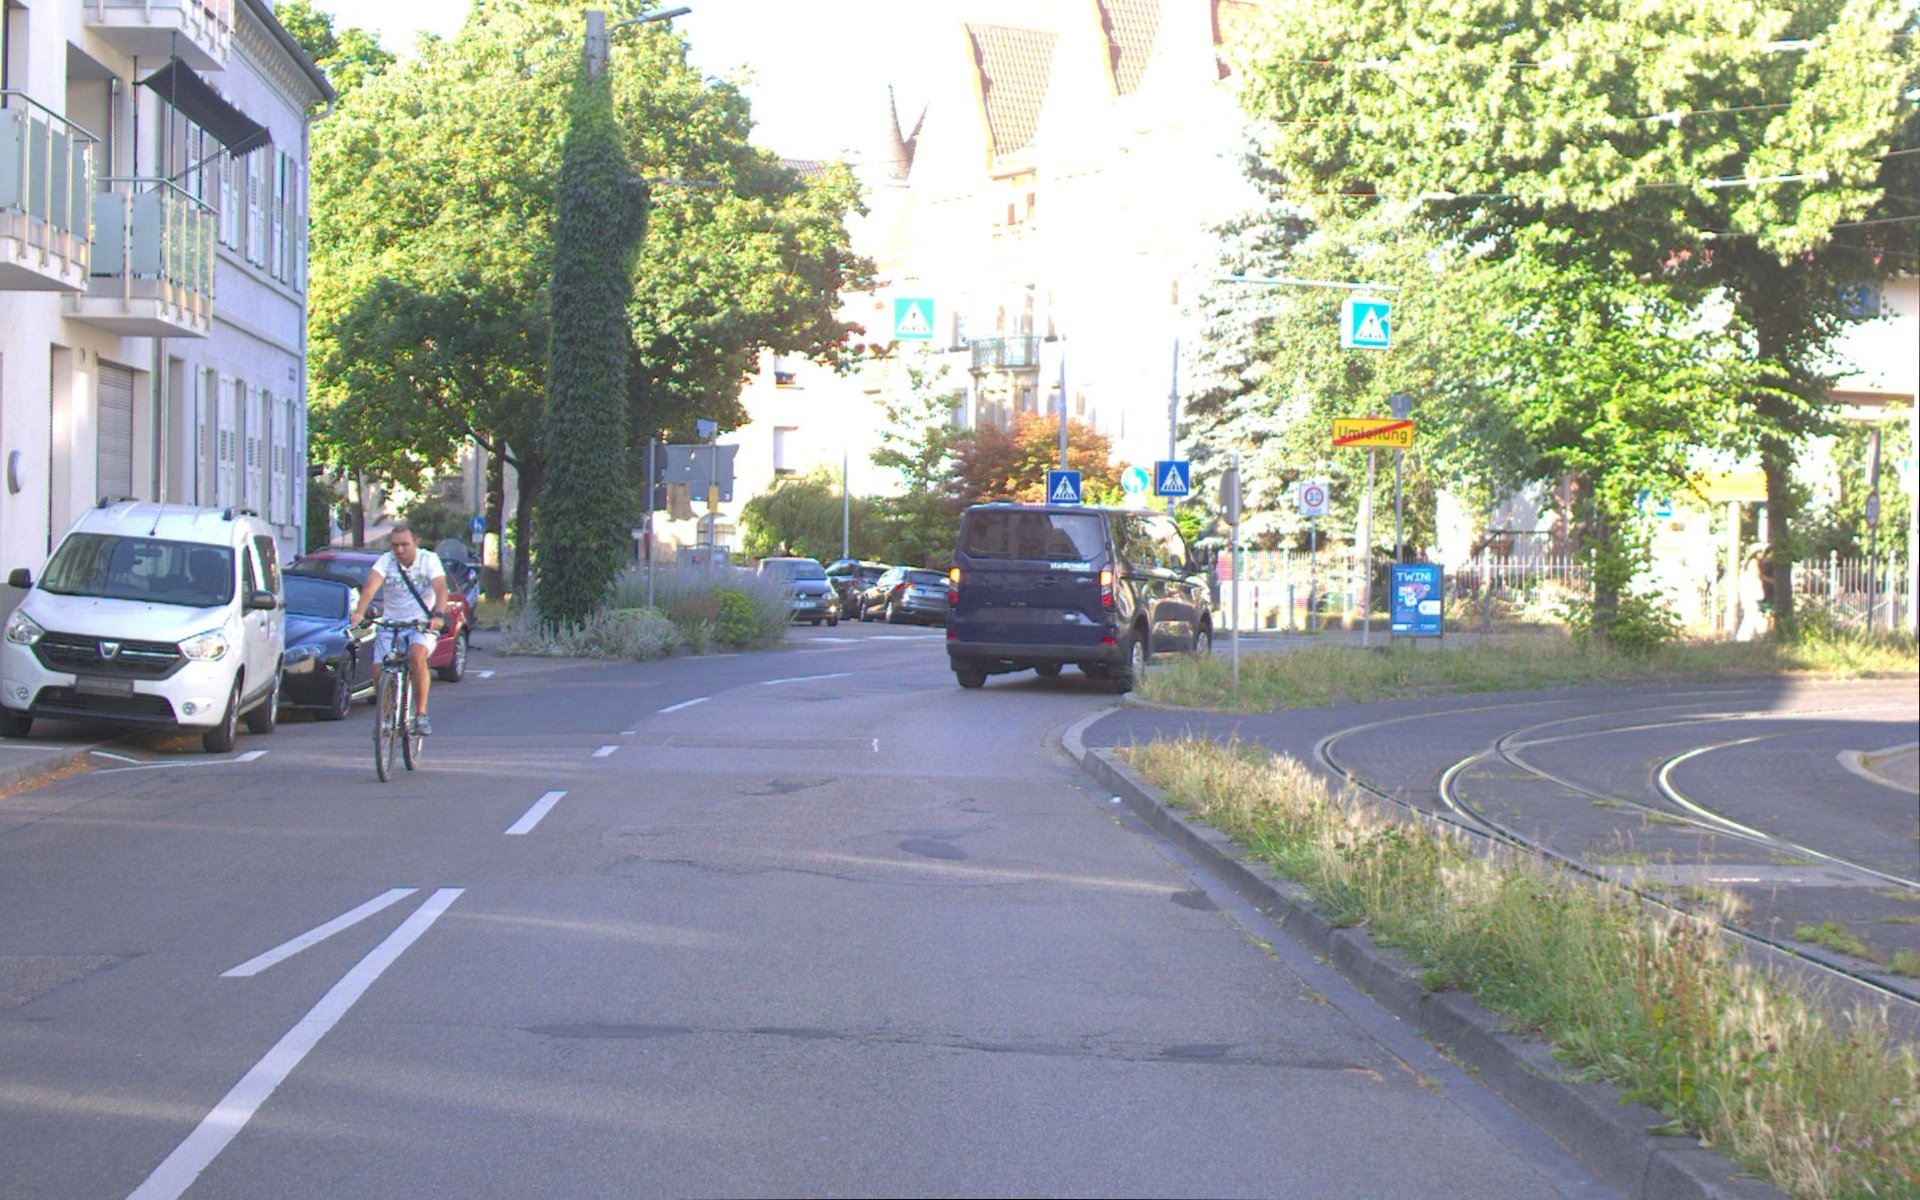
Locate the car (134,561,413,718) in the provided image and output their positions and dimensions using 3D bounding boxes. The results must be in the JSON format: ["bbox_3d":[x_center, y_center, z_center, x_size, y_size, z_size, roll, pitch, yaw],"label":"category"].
[{"bbox_3d":[-6.224,0.335,31.568,1.664,1.269,4.026,3,0,0],"label":"car"}]

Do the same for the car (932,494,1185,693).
[{"bbox_3d":[1.137,-0.104,37.551,1.995,2.007,3.998,2,1,12],"label":"car"}]

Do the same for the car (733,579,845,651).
[{"bbox_3d":[-3.640,0.334,72.701,1.712,1.398,3.739,0,-2,-13],"label":"car"}]

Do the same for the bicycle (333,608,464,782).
[{"bbox_3d":[-3.671,0.602,22.575,0.622,1.078,1.784,0,0,-2],"label":"bicycle"}]

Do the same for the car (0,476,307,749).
[{"bbox_3d":[-6.251,0.070,26.639,1.810,1.863,4.333,3,0,-5],"label":"car"}]

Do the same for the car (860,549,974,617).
[{"bbox_3d":[-1.080,-0.426,84.194,1.993,1.590,4.001,2,0,-12],"label":"car"}]

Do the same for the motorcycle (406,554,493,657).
[{"bbox_3d":[-6.974,0.060,46.872,0.930,1.353,2.565,2,0,-13],"label":"motorcycle"}]

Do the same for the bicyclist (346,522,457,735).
[{"bbox_3d":[-3.672,0.180,22.626,0.622,1.375,0.801,0,0,-2],"label":"bicyclist"}]

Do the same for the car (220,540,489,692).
[{"bbox_3d":[-6.542,0.123,37.633,1.709,1.461,4.591,3,1,5],"label":"car"}]

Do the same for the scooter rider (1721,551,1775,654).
[{"bbox_3d":[12.938,0.037,56.456,0.606,1.667,0.655,0,1,-16],"label":"scooter rider"}]

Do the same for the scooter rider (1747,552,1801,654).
[{"bbox_3d":[13.395,0.044,56.598,0.606,1.667,0.655,0,1,-16],"label":"scooter rider"}]
